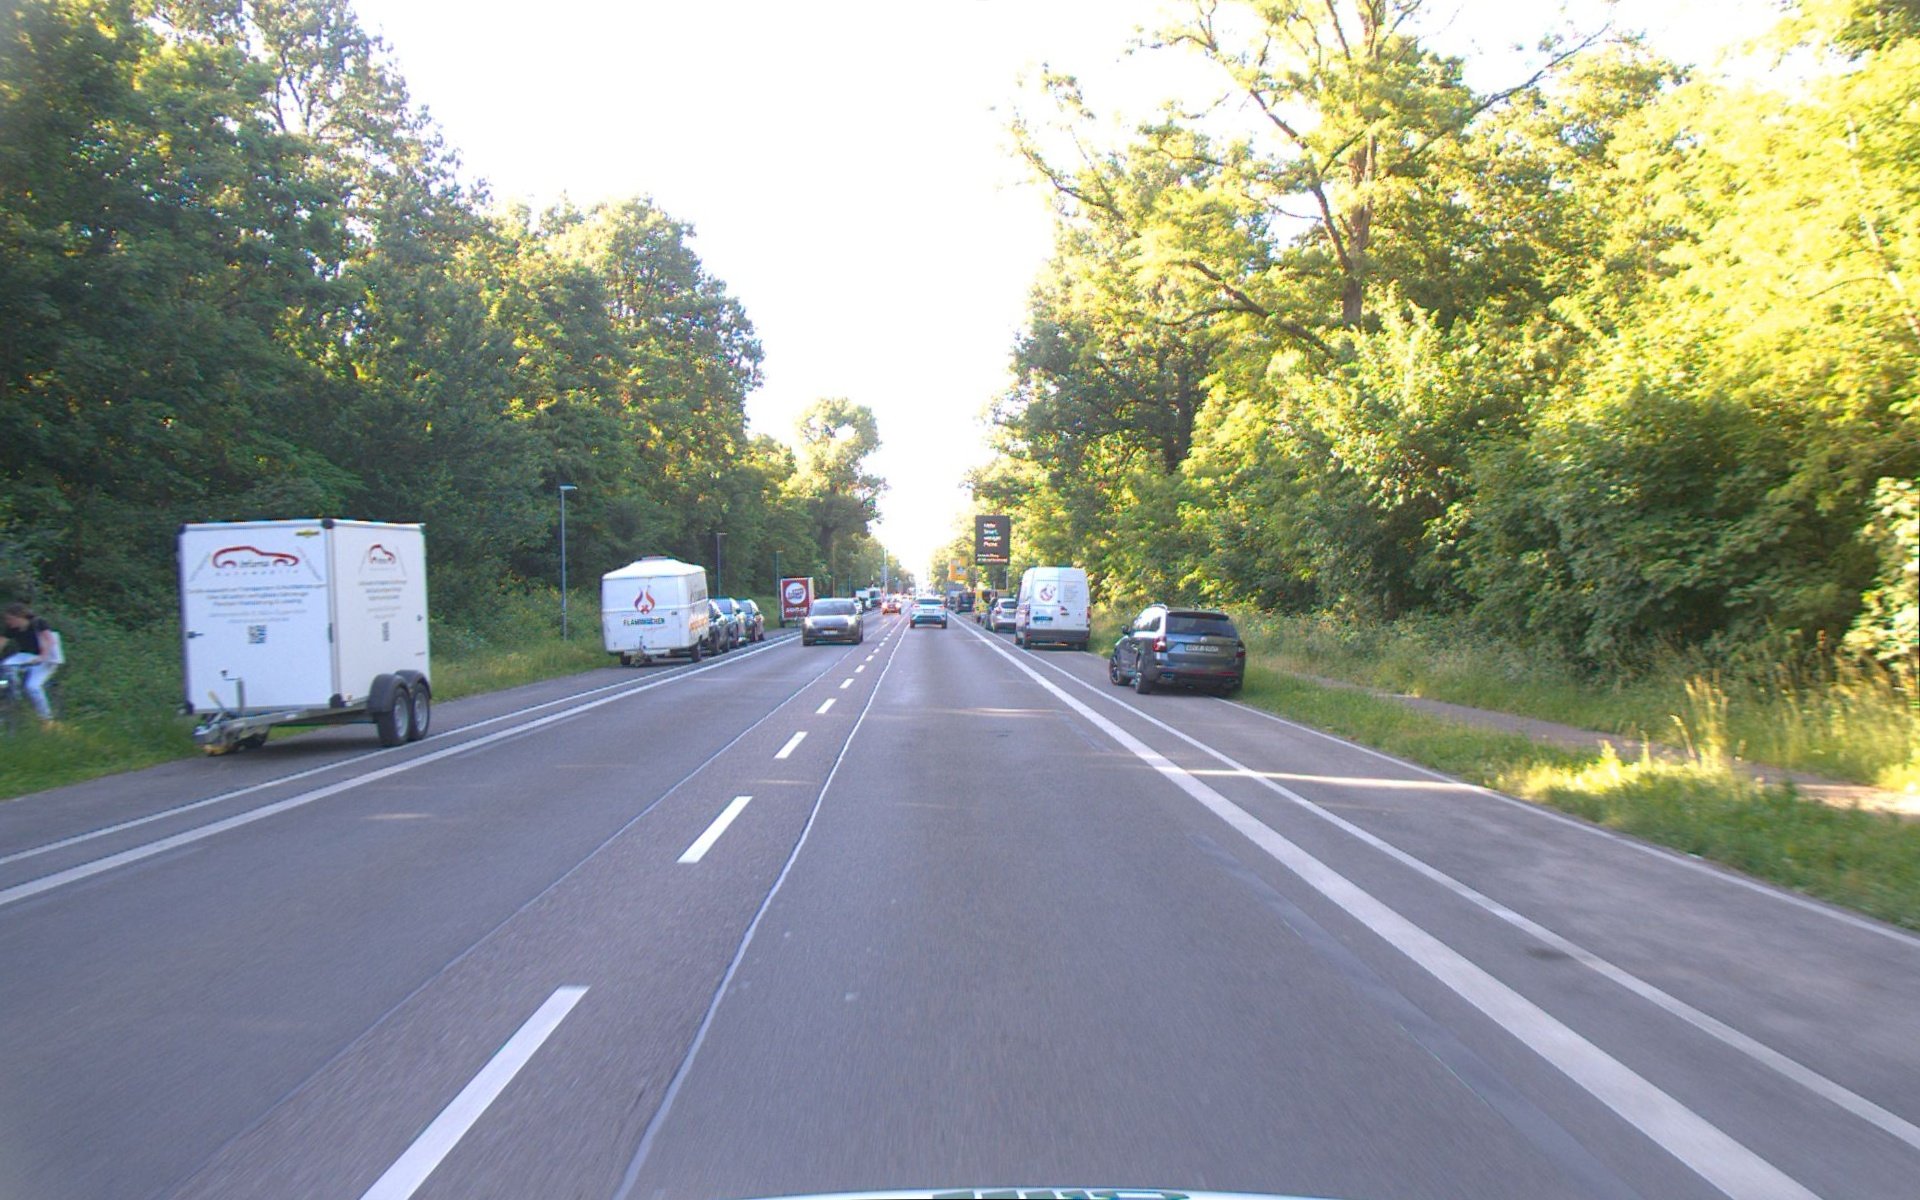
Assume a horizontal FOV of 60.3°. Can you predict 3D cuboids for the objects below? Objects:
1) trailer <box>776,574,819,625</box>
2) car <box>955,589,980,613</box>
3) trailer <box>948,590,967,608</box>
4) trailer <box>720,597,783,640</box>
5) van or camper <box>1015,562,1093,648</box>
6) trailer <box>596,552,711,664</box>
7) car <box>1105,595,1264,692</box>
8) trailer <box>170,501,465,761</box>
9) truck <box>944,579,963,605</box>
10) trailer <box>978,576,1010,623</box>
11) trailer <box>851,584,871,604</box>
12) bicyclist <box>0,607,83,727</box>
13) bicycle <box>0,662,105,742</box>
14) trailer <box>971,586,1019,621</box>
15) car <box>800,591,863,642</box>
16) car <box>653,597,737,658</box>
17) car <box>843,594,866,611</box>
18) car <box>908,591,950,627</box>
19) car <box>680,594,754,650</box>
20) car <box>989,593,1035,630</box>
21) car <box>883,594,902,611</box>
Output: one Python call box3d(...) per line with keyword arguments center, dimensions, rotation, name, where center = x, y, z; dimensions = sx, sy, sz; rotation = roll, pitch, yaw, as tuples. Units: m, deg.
box3d(center=(-8.750, -0.030, 89.184), dimensions=(1.953, 2.667, 4.085), rotation=(0, 0, -1), name="trailer")
box3d(center=(0.639, 0.059, 150.006), dimensions=(2.071, 2.049, 5.038), rotation=(2, 0, -1), name="car")
box3d(center=(-0.308, -0.111, 194.040), dimensions=(1.580, 2.149, 2.397), rotation=(0, 0, 19), name="trailer")
box3d(center=(-7.513, 0.650, 59.880), dimensions=(1.804, 1.492, 4.465), rotation=(0, 0, -1), name="trailer")
box3d(center=(2.892, 0.134, 52.161), dimensions=(2.082, 2.526, 6.304), rotation=(0, 0, 0), name="van or camper")
box3d(center=(-7.461, 0.186, 40.683), dimensions=(2.300, 2.573, 4.340), rotation=(-1, 0, -5), name="trailer")
box3d(center=(3.782, 0.694, 28.653), dimensions=(1.798, 1.445, 4.593), rotation=(3, 0, -4), name="car")
box3d(center=(-6.855, 0.293, 18.069), dimensions=(2.026, 2.524, 3.557), rotation=(-1, 0, -5), name="trailer")
box3d(center=(-0.903, -1.040, 224.167), dimensions=(2.454, 3.425, 7.106), rotation=(1, 0, -1), name="truck")
box3d(center=(1.863, -0.036, 92.494), dimensions=(1.581, 2.552, 3.999), rotation=(1, 0, -2), name="trailer")
box3d(center=(-11.697, -0.733, 195.028), dimensions=(2.032, 2.333, 3.486), rotation=(-1, 0, 1), name="trailer")
box3d(center=(-11.019, 0.780, 19.687), dimensions=(0.657, 1.388, 0.905), rotation=(1, 0, -1), name="bicyclist")
box3d(center=(-11.029, 1.188, 19.661), dimensions=(0.657, 0.815, 2.098), rotation=(1, 0, -1), name="bicycle")
box3d(center=(2.152, 0.207, 100.591), dimensions=(1.921, 2.058, 3.846), rotation=(0, 0, 18), name="trailer")
box3d(center=(-4.156, 0.524, 53.935), dimensions=(1.782, 1.559, 4.529), rotation=(-1, 0, -1), name="car")
box3d(center=(-7.282, 0.735, 45.742), dimensions=(1.637, 1.521, 4.193), rotation=(-4, 0, -1), name="car")
box3d(center=(-9.852, 0.257, 154.801), dimensions=(1.829, 1.476, 4.070), rotation=(-3, 0, -1), name="car")
box3d(center=(-1.523, 0.409, 80.263), dimensions=(1.953, 1.668, 3.999), rotation=(-1, 0, -1), name="car")
box3d(center=(-7.715, 0.676, 52.896), dimensions=(1.637, 1.601, 5.126), rotation=(-4, 0, -1), name="car")
box3d(center=(2.256, 0.497, 72.720), dimensions=(1.700, 1.514, 4.399), rotation=(2, 0, -3), name="car")
box3d(center=(-5.788, 0.202, 141.689), dimensions=(1.571, 1.445, 3.517), rotation=(-2, 0, -2), name="car")
